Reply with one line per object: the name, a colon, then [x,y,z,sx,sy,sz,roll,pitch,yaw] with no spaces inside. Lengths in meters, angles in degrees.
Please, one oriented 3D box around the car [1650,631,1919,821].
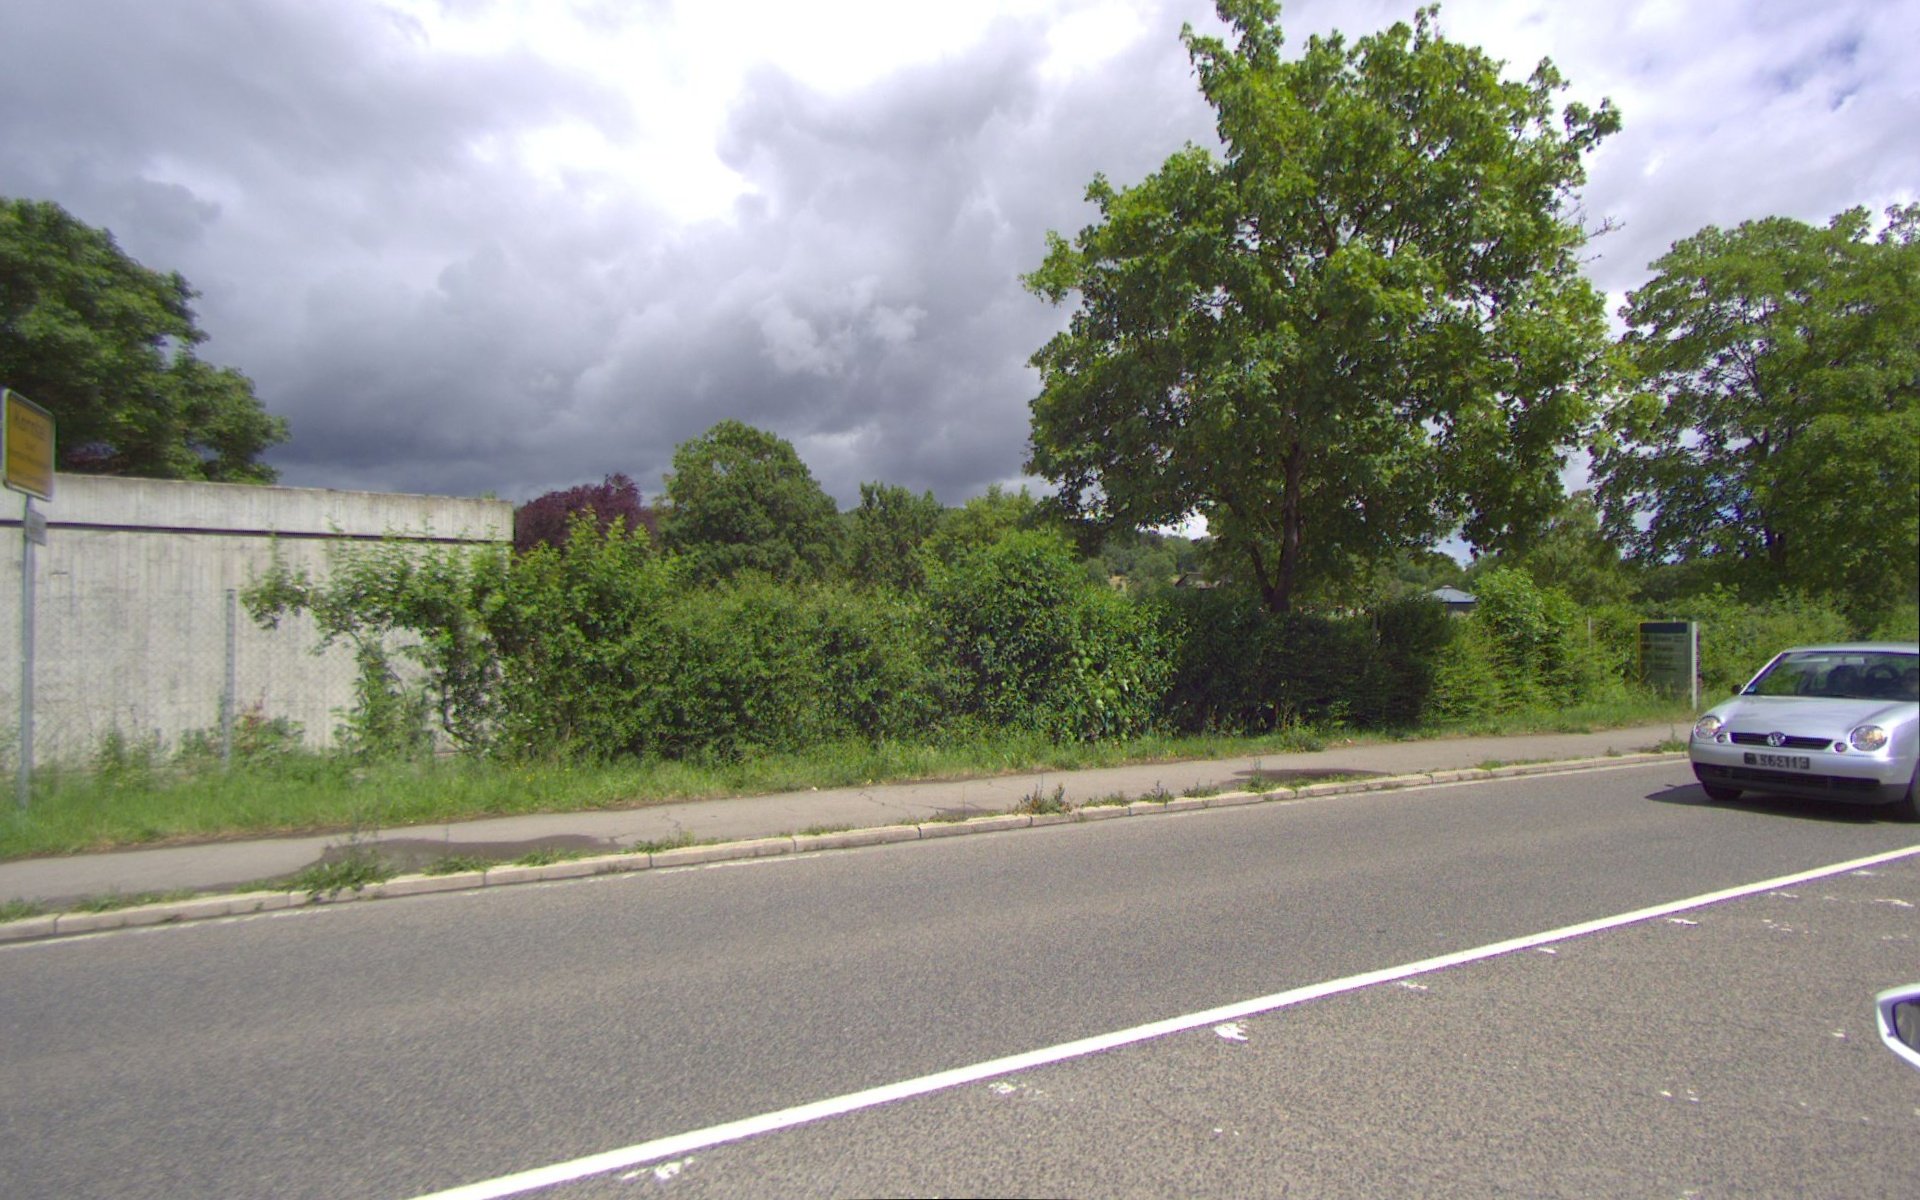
car: [8.293,1.023,9.307,3.647,1.450,1.654,1,-3,-29]
